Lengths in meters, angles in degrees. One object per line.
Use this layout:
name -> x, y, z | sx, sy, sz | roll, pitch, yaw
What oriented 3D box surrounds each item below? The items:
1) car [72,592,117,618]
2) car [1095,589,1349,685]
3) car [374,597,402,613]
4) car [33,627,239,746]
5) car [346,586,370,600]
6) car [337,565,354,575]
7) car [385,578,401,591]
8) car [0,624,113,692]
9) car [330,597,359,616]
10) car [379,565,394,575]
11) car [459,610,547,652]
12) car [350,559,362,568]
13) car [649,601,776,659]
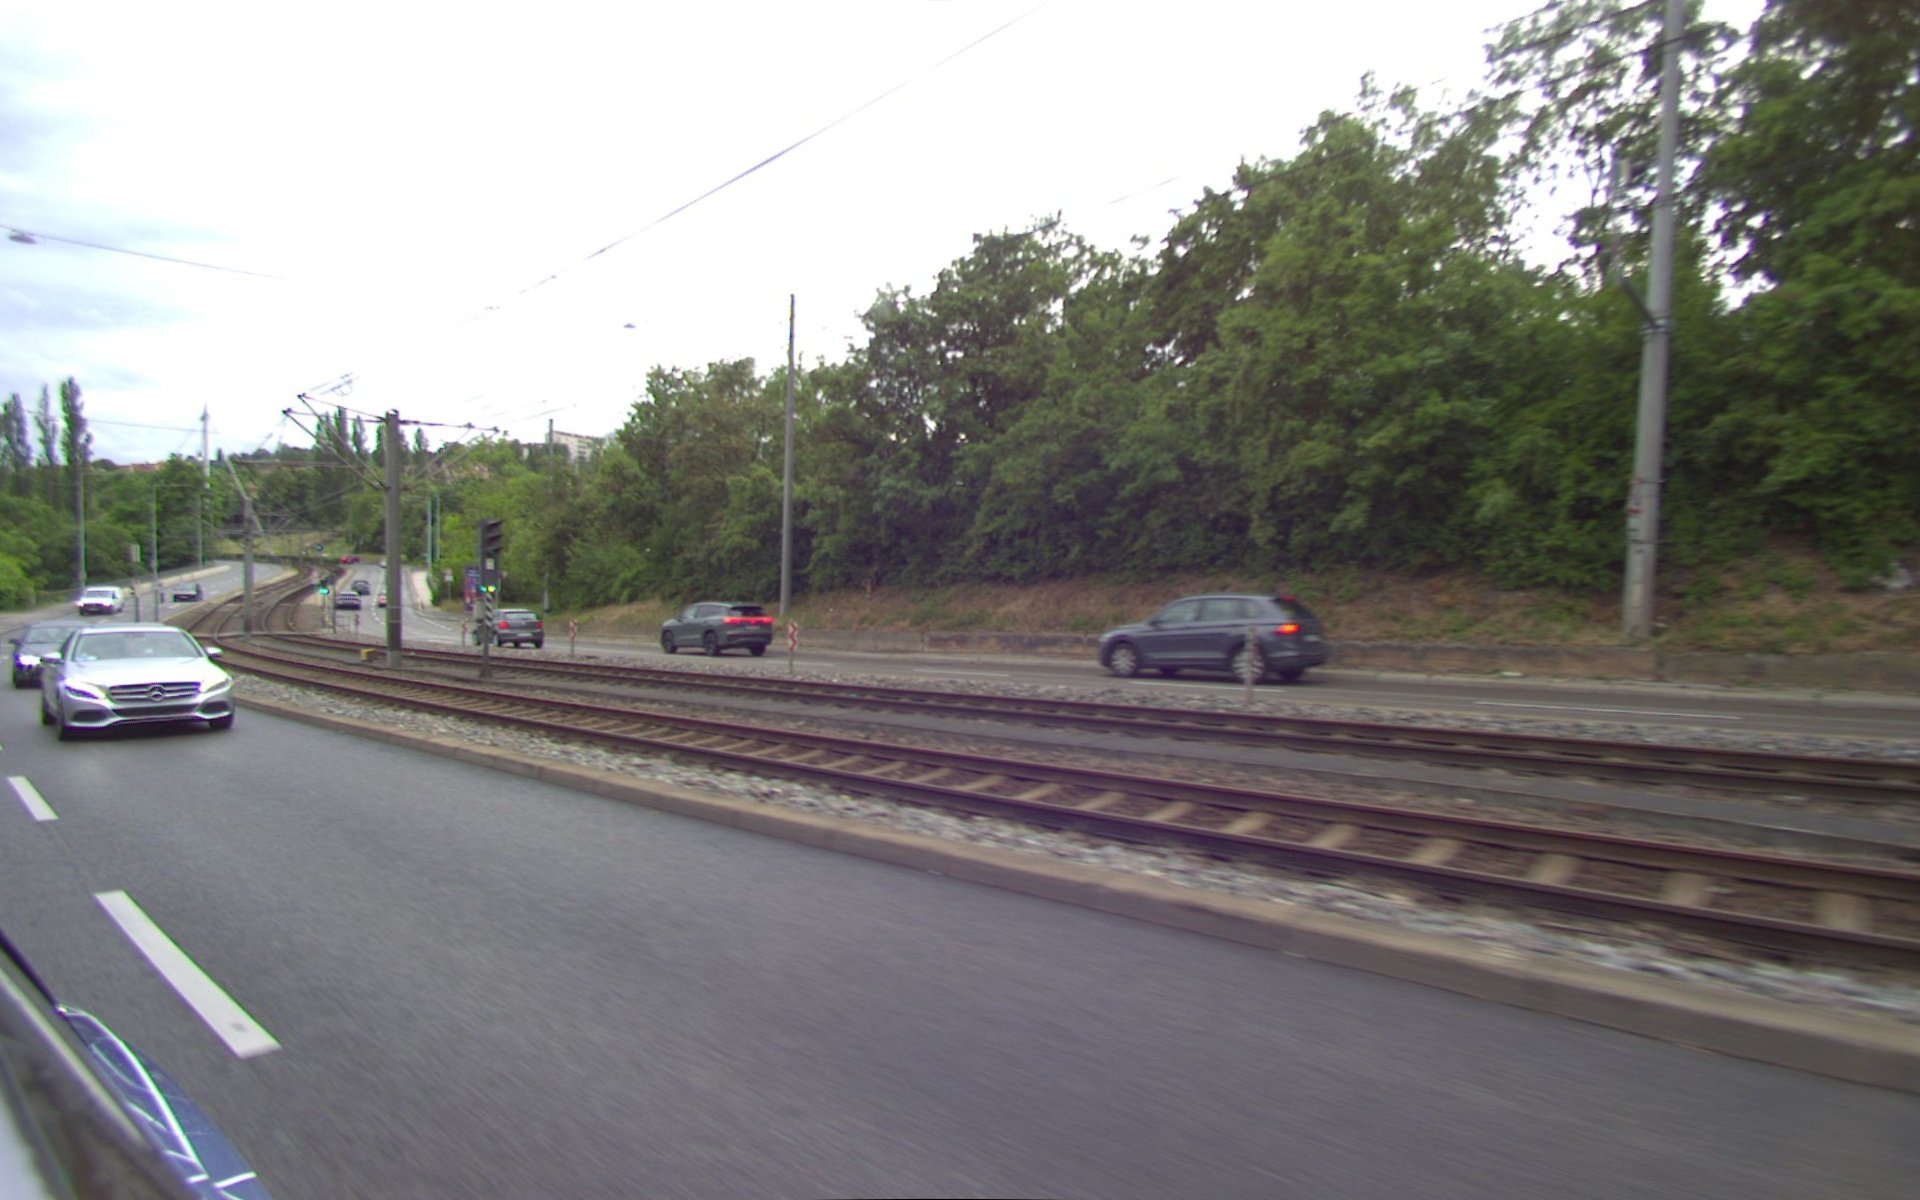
car -> -63.654, 0.345, 74.510 | 1.739, 1.830, 4.012 | -1, 0, -29
car -> 4.861, 0.677, 19.239 | 4.412, 1.620, 1.688 | -1, -2, 43
car -> -51.743, 0.425, 91.530 | 1.795, 1.390, 4.717 | 1, 0, -35
car -> -11.482, 1.073, 14.007 | 1.845, 1.366, 4.062 | 0, -1, -45
car -> -62.600, -0.756, 105.235 | 1.611, 1.395, 3.902 | 2, -1, -38
car -> -110.872, -5.441, 182.561 | 1.826, 1.609, 4.738 | 1, 3, -43
car -> -70.470, -1.977, 125.859 | 1.692, 1.469, 4.289 | 0, 2, -29
car -> -20.855, 1.271, 23.316 | 1.712, 1.362, 4.002 | -1, 0, -45
car -> -52.793, 0.559, 86.783 | 1.836, 1.449, 4.868 | -1, 2, -34
car -> -95.857, -4.972, 169.073 | 1.796, 1.526, 4.542 | 0, 4, -33
car -> -16.958, 1.124, 37.498 | 1.686, 1.425, 4.035 | -1, 0, -44
car -> -115.636, -7.048, 193.741 | 1.942, 1.609, 5.200 | 1, 2, -32
car -> -7.858, 0.925, 31.877 | 1.763, 1.682, 4.744 | 0, -1, -43
